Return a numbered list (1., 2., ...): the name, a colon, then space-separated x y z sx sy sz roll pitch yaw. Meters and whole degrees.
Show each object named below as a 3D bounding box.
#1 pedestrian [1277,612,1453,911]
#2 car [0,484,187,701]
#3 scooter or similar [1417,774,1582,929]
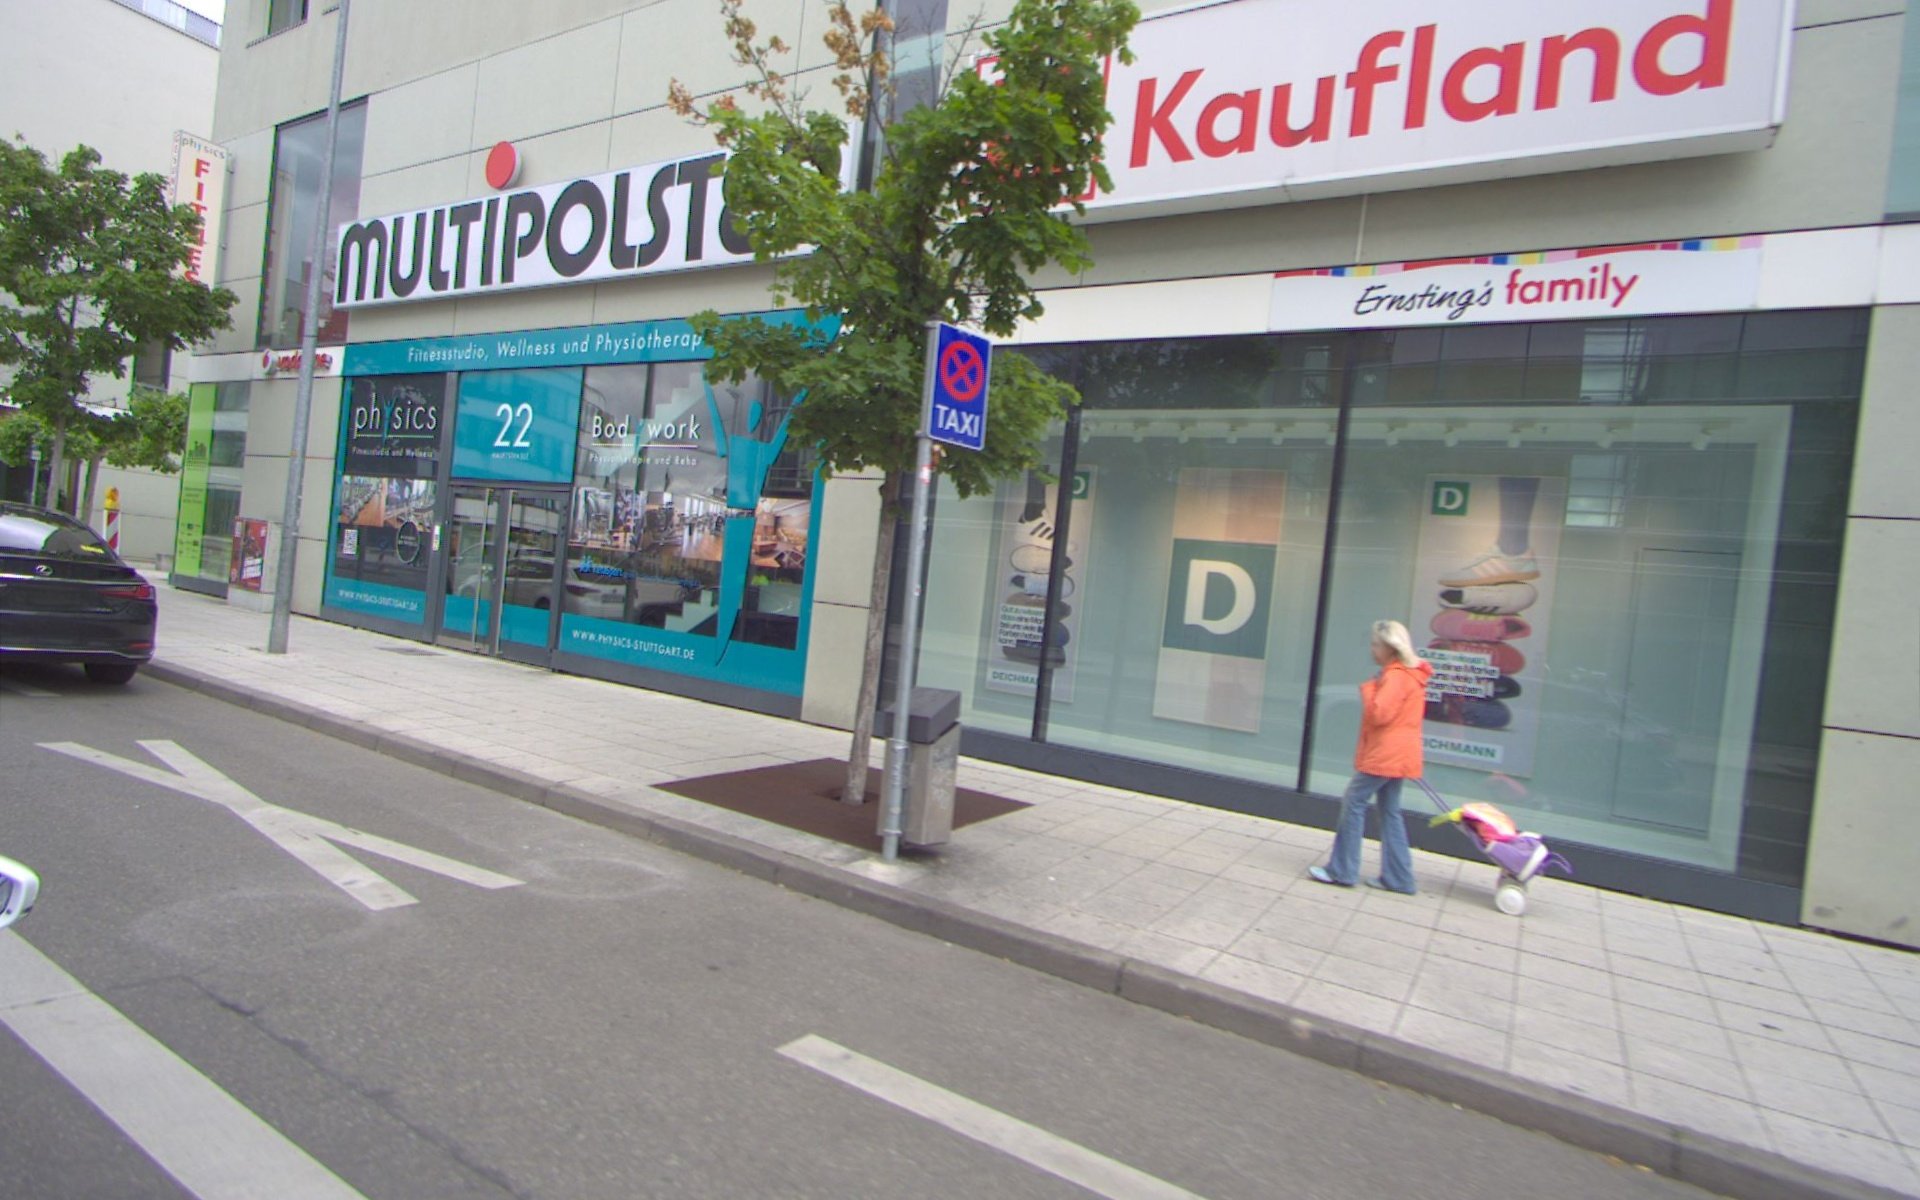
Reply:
1. pedestrian: 2.405 0.906 5.969 0.720 1.588 0.588 7 3 32
2. car: -8.874 -0.254 8.742 4.711 1.560 1.740 6 -2 32
3. scooter or similar: 3.145 1.437 5.868 0.755 0.643 0.551 7 2 32
